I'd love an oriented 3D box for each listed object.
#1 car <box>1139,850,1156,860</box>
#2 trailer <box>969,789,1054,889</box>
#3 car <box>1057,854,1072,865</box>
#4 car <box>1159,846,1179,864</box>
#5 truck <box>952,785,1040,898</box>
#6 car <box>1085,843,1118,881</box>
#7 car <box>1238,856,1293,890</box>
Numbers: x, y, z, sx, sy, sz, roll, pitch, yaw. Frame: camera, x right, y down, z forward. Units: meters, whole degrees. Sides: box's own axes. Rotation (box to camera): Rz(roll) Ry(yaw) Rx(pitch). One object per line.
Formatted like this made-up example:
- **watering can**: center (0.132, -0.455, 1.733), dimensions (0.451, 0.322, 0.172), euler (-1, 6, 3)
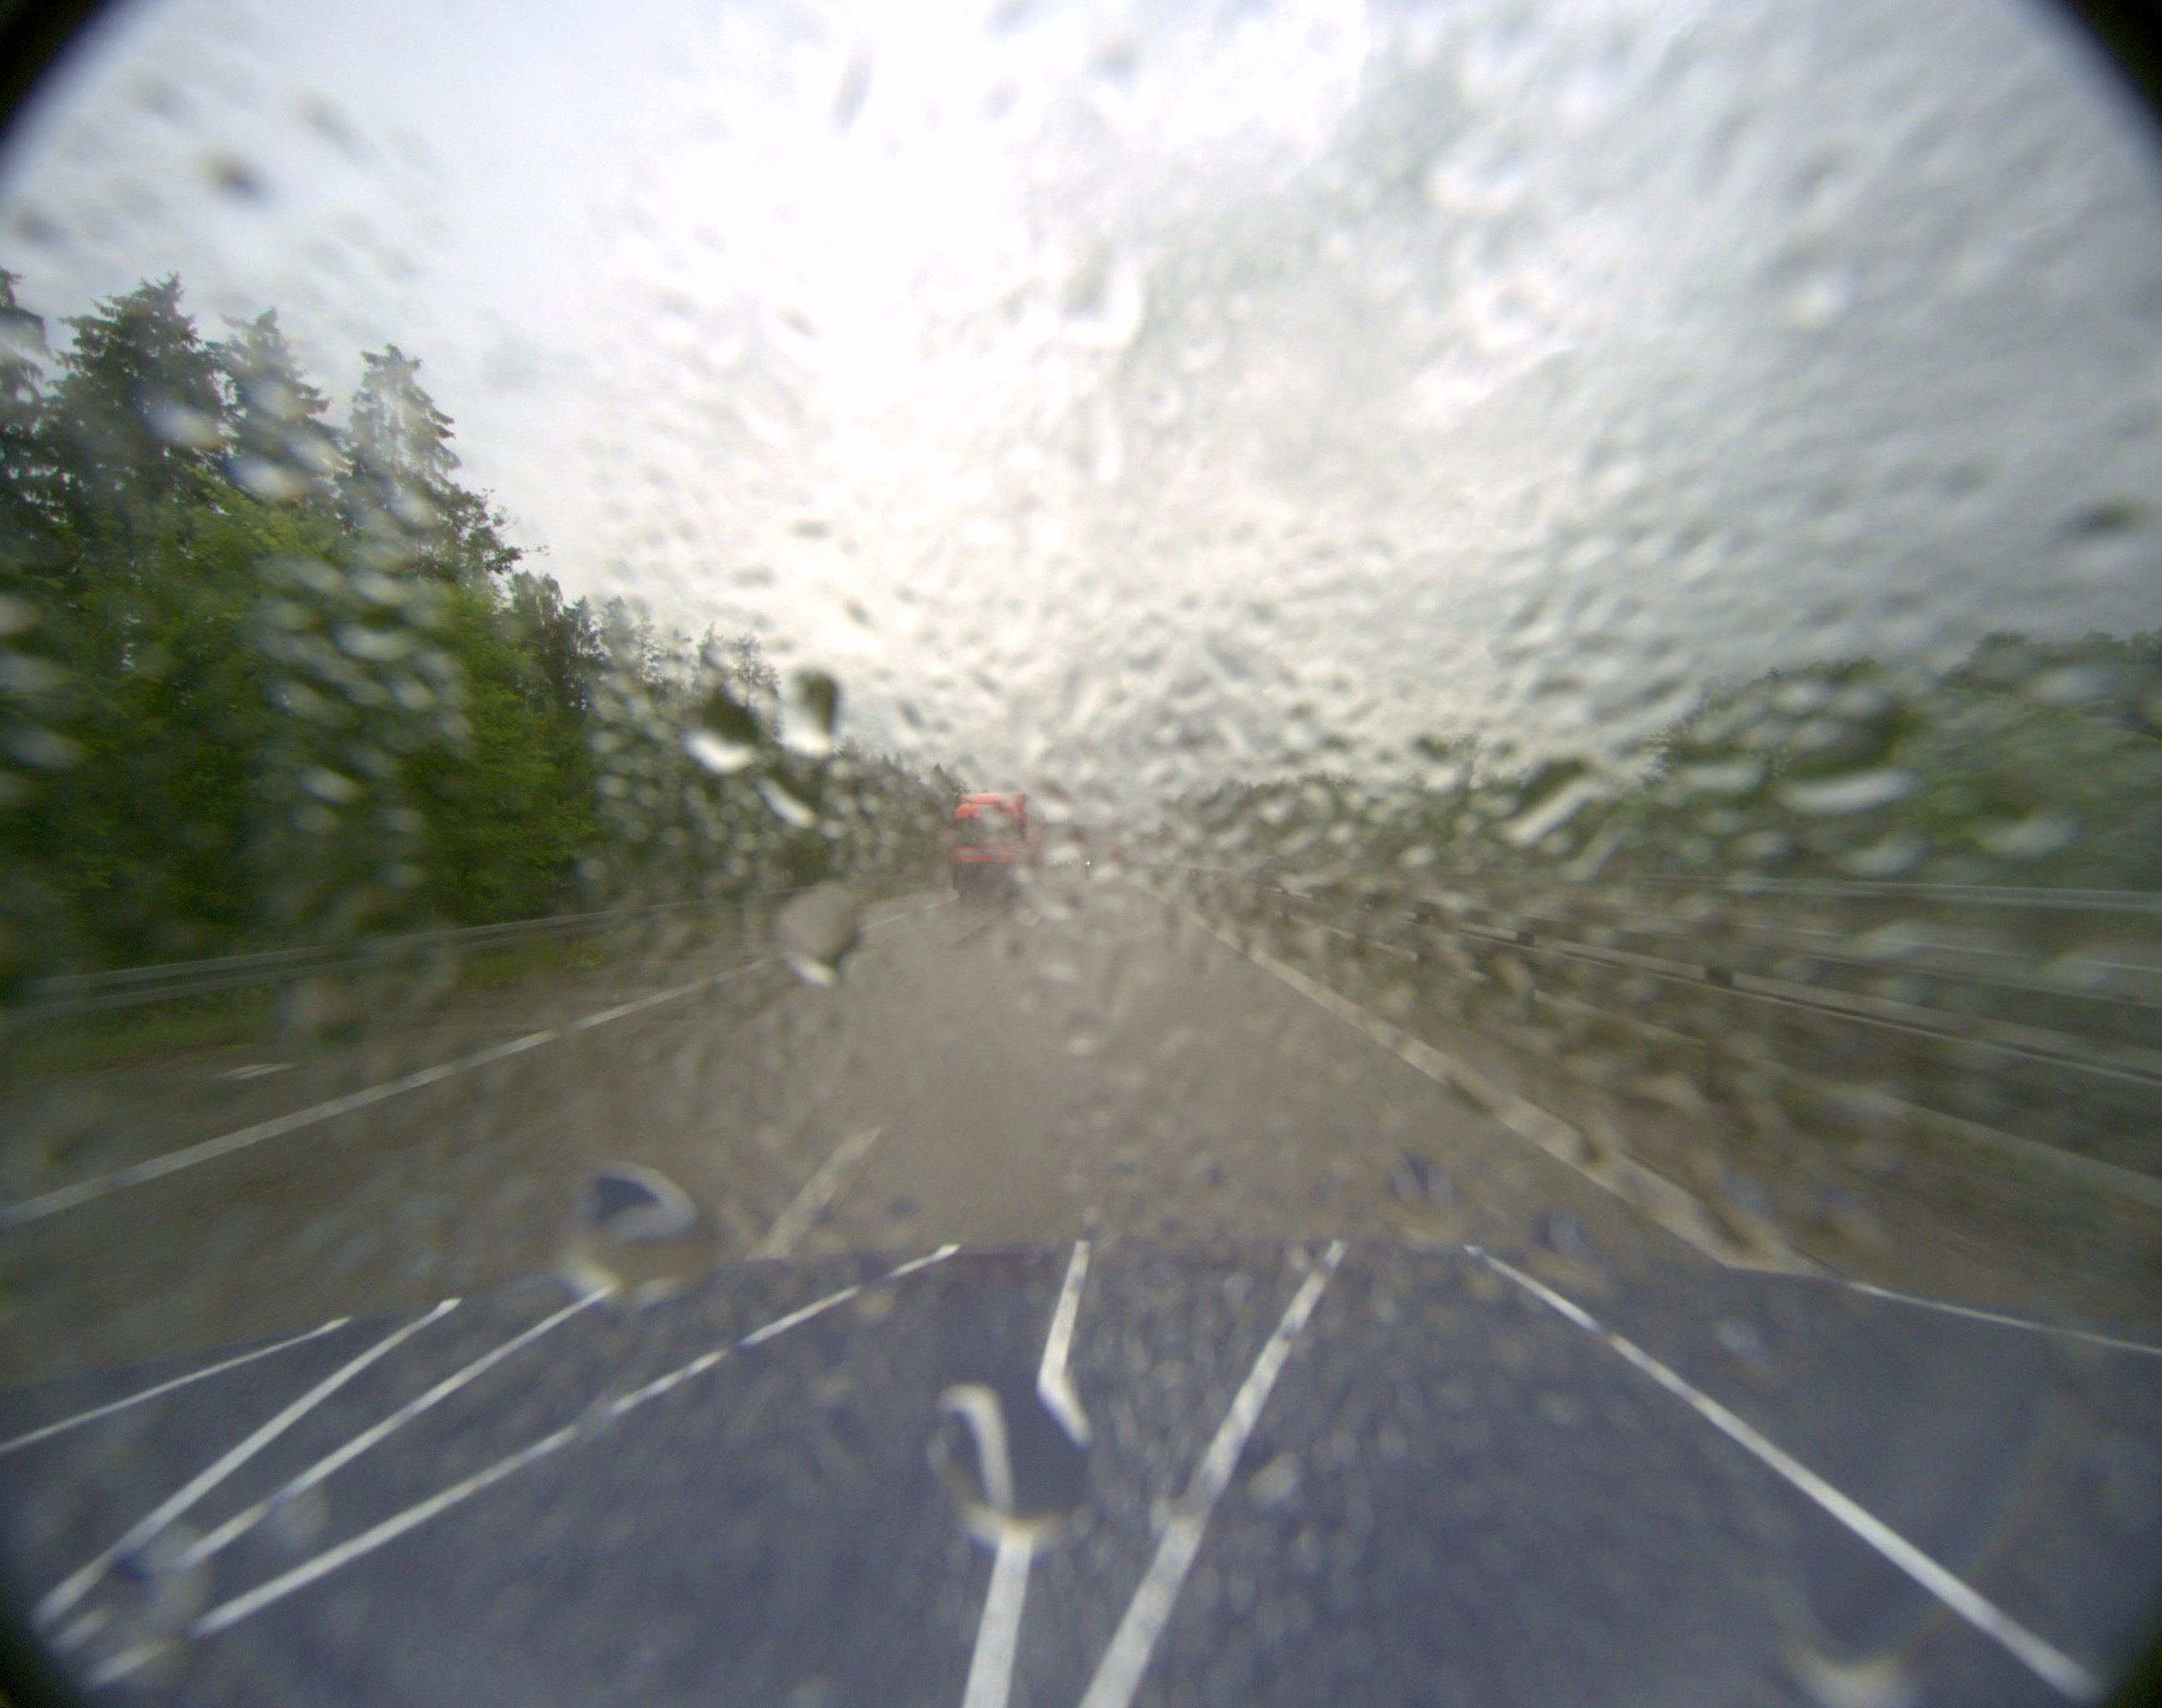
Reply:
- **car**: center (9.010, 0.127, 103.564), dimensions (1.772, 1.410, 4.605), euler (0, 0, -3)
- **trailer**: center (-3.146, -0.614, 38.224), dimensions (2.801, 4.132, 13.005), euler (1, 0, 1)
- **car**: center (-1.864, 0.660, 87.383), dimensions (1.496, 1.188, 3.668), euler (1, 0, 1)
- **car**: center (13.424, 0.140, 116.112), dimensions (2.357, 2.733, 6.875), euler (-1, 0, 1)
- **truck**: center (-3.246, -0.445, 30.341), dimensions (2.766, 4.064, 5.437), euler (1, 0, 1)
- **car**: center (1.194, 0.441, 44.802), dimensions (1.795, 2.113, 4.524), euler (1, 0, 1)
- **car**: center (8.186, 0.816, 33.973), dimensions (1.523, 1.395, 3.931), euler (1, 0, 0)
